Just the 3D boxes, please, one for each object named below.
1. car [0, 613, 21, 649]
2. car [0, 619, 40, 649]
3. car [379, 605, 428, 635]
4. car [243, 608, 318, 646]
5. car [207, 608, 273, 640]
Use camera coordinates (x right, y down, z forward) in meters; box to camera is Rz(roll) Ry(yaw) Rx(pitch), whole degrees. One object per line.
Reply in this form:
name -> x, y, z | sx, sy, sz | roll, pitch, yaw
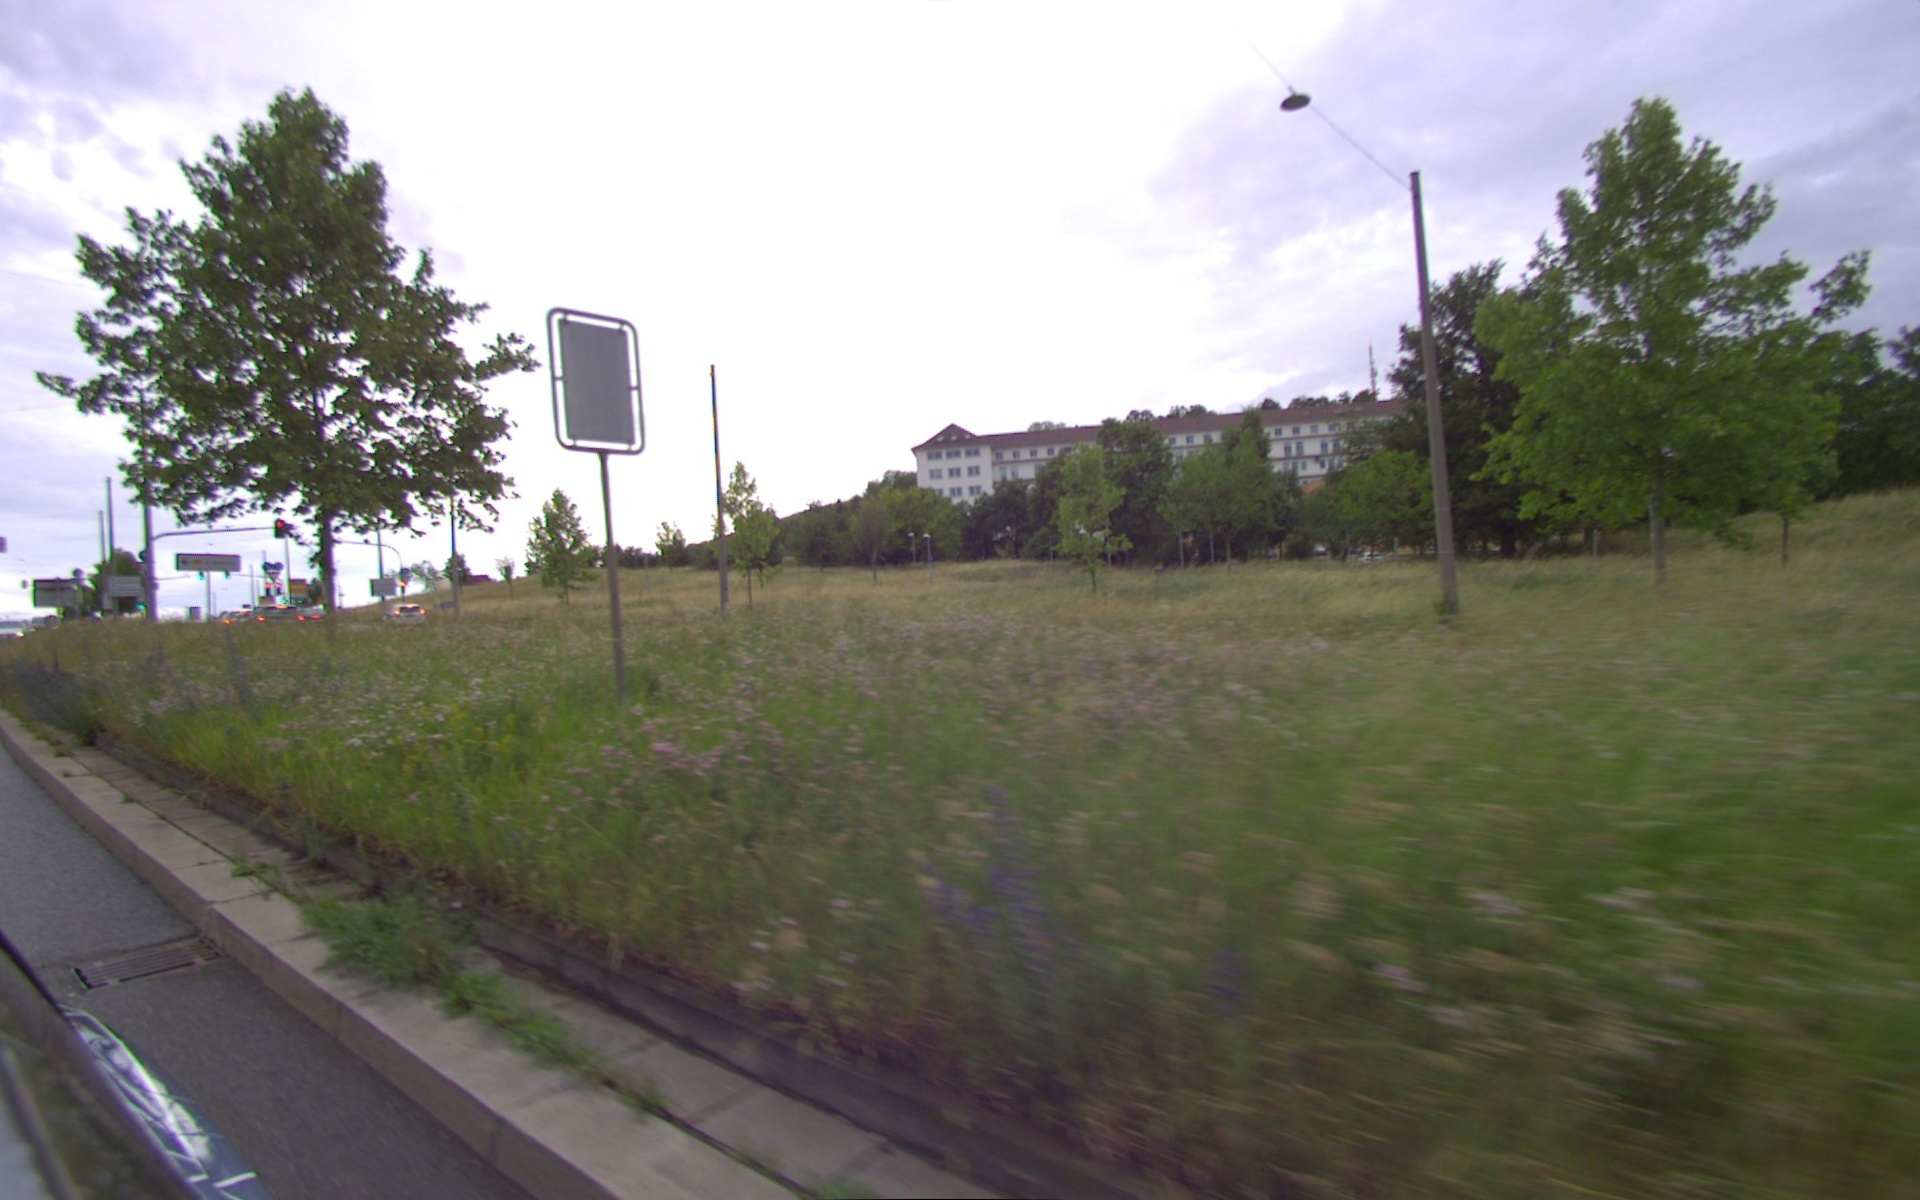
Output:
car -> -50.230, 1.635, 52.669 | 1.970, 1.785, 4.004 | 2, -4, -43
car -> -59.022, 2.095, 63.469 | 1.969, 1.785, 4.005 | 0, -1, -42
car -> -34.570, 1.235, 62.779 | 1.967, 1.656, 4.809 | -3, 1, -36
car -> -30.551, 1.195, 45.471 | 1.971, 1.523, 4.440 | -3, 1, -45
car -> -35.786, 1.209, 50.259 | 1.939, 1.433, 4.440 | -3, 1, -45
